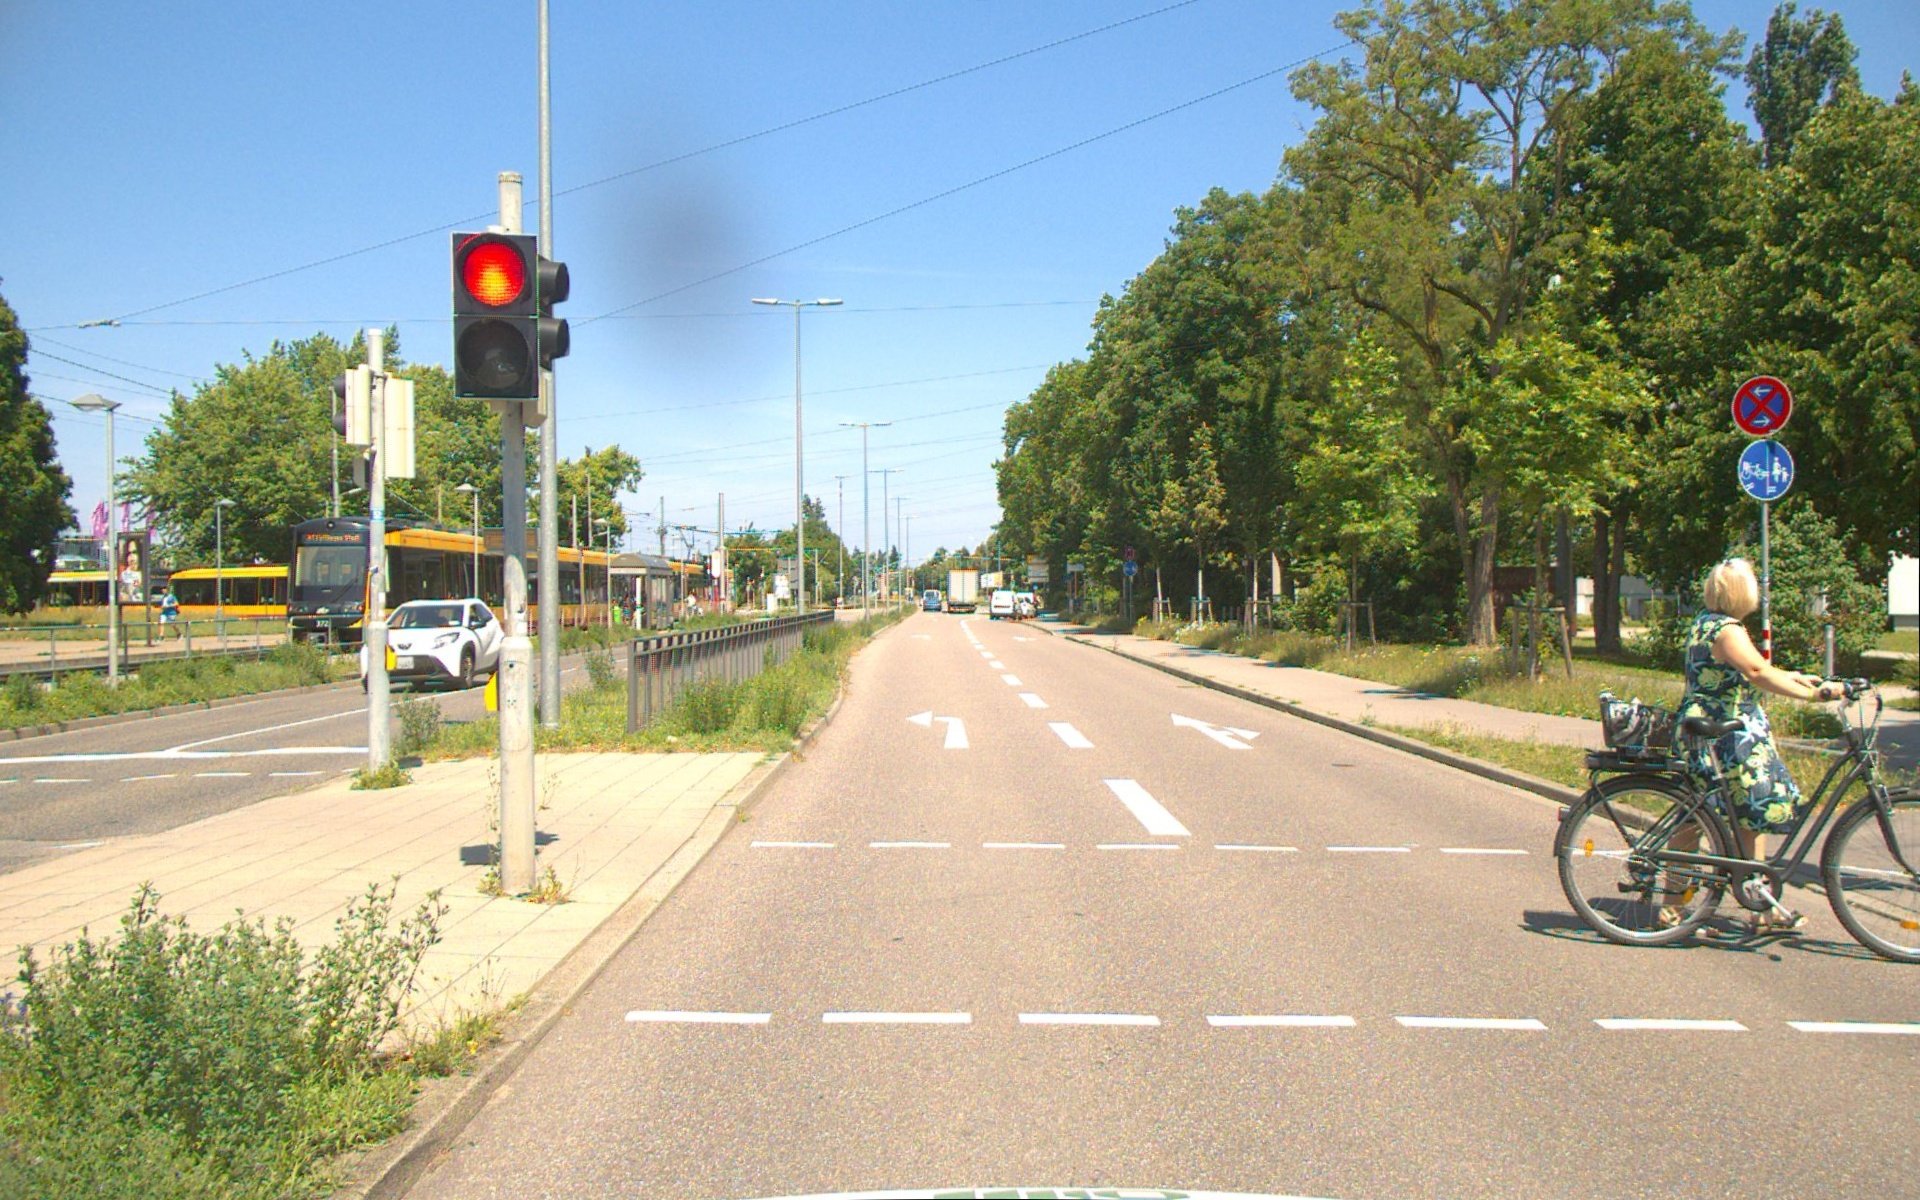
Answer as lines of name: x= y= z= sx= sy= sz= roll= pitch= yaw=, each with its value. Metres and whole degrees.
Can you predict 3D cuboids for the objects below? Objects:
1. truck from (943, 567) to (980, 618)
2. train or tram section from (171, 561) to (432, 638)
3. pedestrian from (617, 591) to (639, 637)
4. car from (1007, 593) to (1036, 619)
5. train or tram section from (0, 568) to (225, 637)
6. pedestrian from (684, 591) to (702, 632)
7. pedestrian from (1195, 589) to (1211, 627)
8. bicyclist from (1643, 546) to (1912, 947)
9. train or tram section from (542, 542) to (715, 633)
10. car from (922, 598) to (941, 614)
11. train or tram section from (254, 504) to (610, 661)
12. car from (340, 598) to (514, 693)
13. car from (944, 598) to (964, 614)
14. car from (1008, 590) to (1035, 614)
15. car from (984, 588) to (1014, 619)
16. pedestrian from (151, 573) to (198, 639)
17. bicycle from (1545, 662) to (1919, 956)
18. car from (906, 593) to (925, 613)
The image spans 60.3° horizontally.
truck: x=0.064 y=-0.650 z=146.122 sx=3.140 sy=4.435 sz=6.559 roll=0 pitch=0 yaw=-1
train or tram section: x=-36.788 y=-0.029 z=91.740 sx=18.101 sy=4.000 sz=3.219 roll=0 pitch=0 yaw=31
pedestrian: x=-13.855 y=0.587 z=69.081 sx=0.769 sy=1.901 sz=0.817 roll=0 pitch=0 yaw=-1
car: x=4.176 y=0.392 z=112.503 sx=1.743 sy=1.698 sz=3.999 roll=0 pitch=0 yaw=-1
train or tram section: x=-52.259 y=0.166 z=101.409 sx=18.096 sy=4.000 sz=3.220 roll=0 pitch=0 yaw=30
pedestrian: x=-13.472 y=0.584 z=83.439 sx=0.798 sy=2.049 sz=0.938 roll=0 pitch=0 yaw=-1
pedestrian: x=9.394 y=0.306 z=63.937 sx=0.591 sy=1.463 sz=0.556 roll=0 pitch=0 yaw=6
bicyclist: x=3.613 y=0.621 z=7.369 sx=0.937 sy=1.696 sz=0.581 roll=0 pitch=0 yaw=9
train or tram section: x=-16.550 y=-0.579 z=86.842 sx=2.871 sy=3.856 sz=33.081 roll=0 pitch=0 yaw=-1
car: x=-2.697 y=0.519 z=157.865 sx=1.774 sy=1.490 sz=3.999 roll=0 pitch=0 yaw=-1
train or tram section: x=-16.032 y=-0.476 z=55.325 sx=2.898 sy=3.815 sz=30.025 roll=0 pitch=0 yaw=-1
car: x=-9.086 y=0.731 z=28.508 sx=1.807 sy=1.521 sz=3.790 roll=0 pitch=0 yaw=-1
car: x=-0.597 y=0.554 z=153.600 sx=1.774 sy=1.490 sz=3.999 roll=0 pitch=0 yaw=-1
car: x=4.400 y=0.111 z=118.854 sx=1.743 sy=1.698 sz=3.999 roll=0 pitch=0 yaw=-1
car: x=2.447 y=0.214 z=105.549 sx=1.743 sy=1.937 sz=3.999 roll=0 pitch=0 yaw=-1
pedestrian: x=-24.437 y=0.184 z=51.471 sx=0.961 sy=2.049 sz=1.021 roll=0 pitch=0 yaw=-1
bicycle: x=3.577 y=0.873 z=7.140 sx=1.915 sy=1.181 sz=0.541 roll=0 pitch=0 yaw=9
car: x=-4.705 y=0.322 z=175.089 sx=1.953 sy=2.049 sz=3.999 roll=0 pitch=0 yaw=-1
